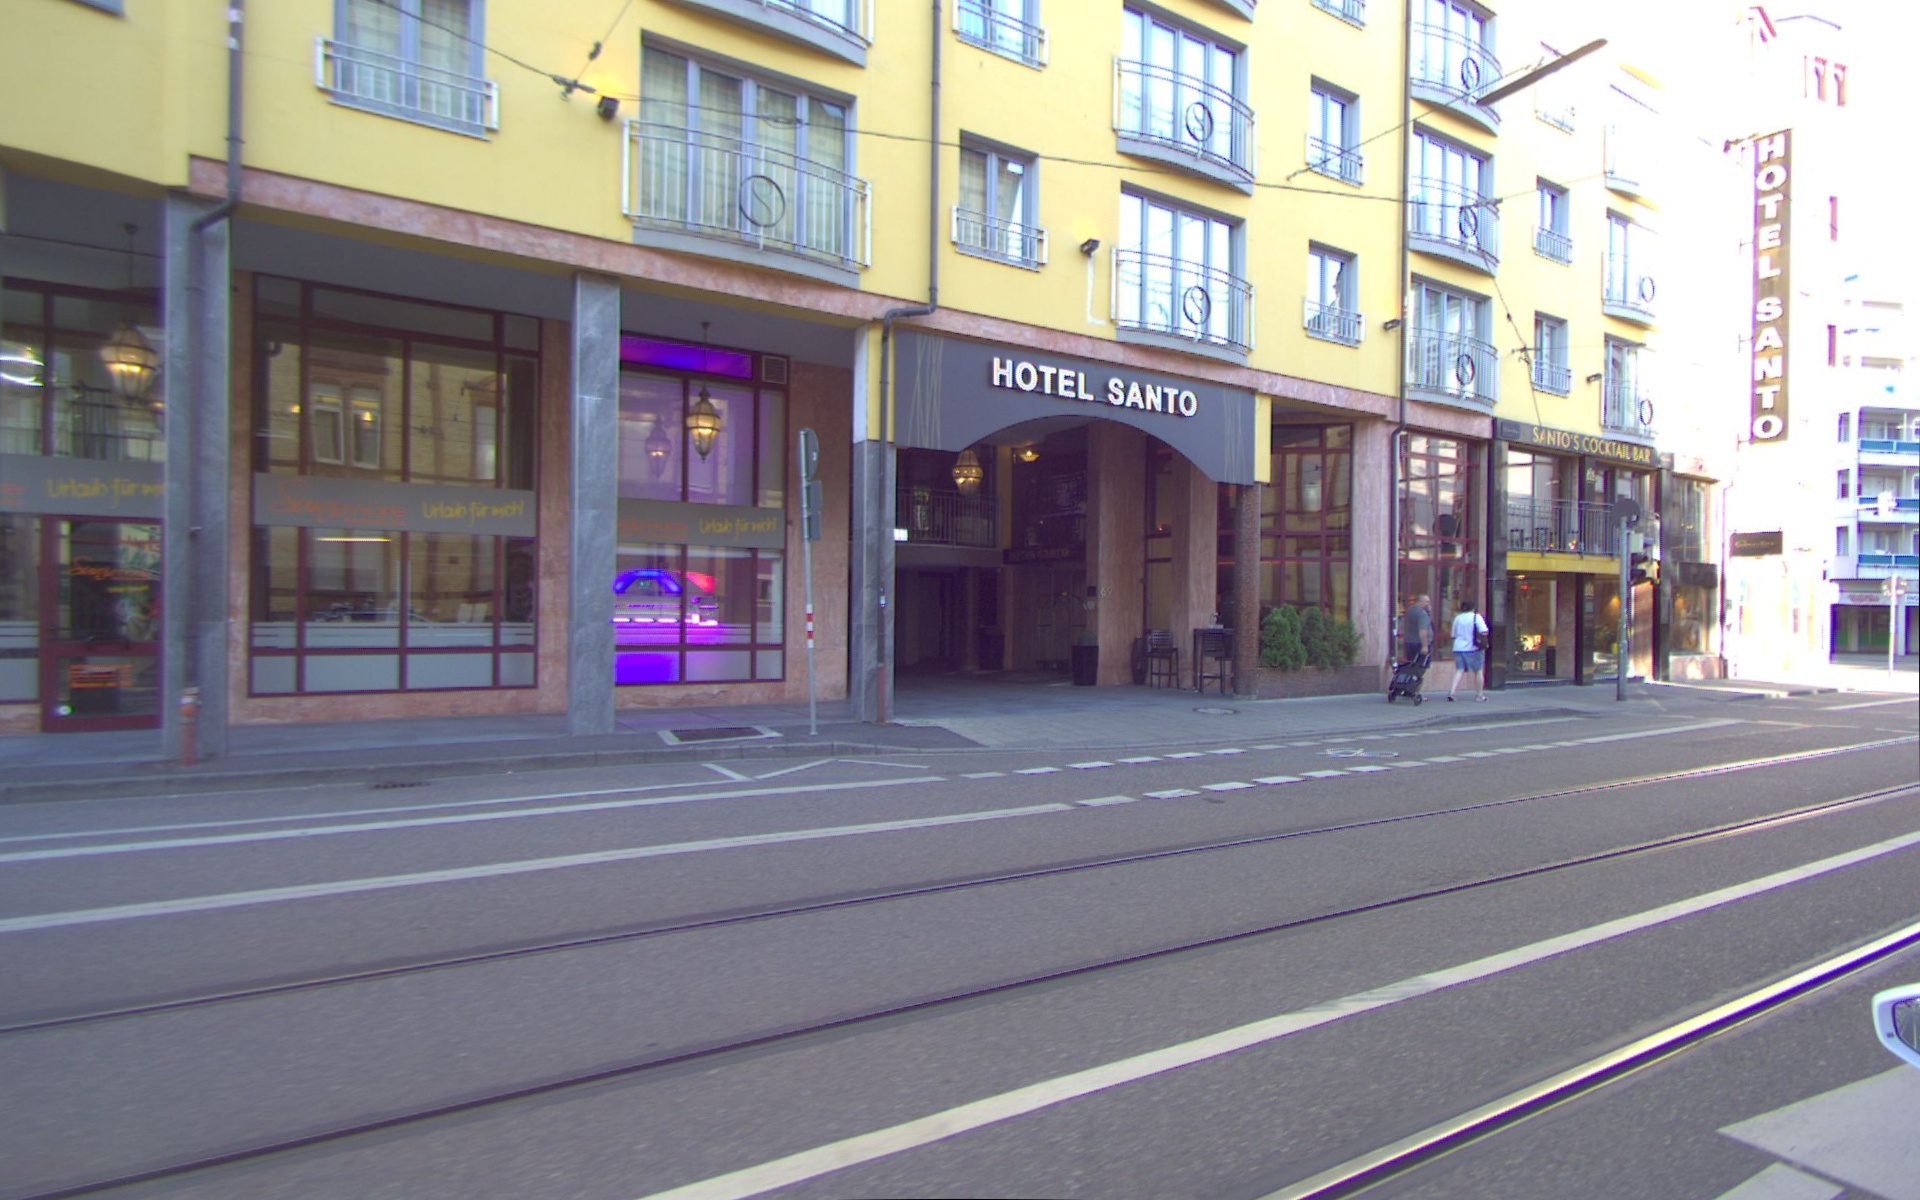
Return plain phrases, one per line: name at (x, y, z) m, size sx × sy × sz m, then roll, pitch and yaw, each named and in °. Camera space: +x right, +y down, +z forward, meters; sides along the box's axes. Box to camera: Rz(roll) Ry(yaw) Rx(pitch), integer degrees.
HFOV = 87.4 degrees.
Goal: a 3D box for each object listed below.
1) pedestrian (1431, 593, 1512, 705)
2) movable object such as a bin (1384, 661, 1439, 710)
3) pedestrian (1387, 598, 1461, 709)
pedestrian at (8.837, 0.825, 17.374) m, size 1.034 × 1.843 × 0.747 m, roll 0°, pitch 3°, yaw -32°
movable object such as a bin at (7.357, 1.386, 16.381) m, size 0.831 × 0.726 × 0.381 m, roll 0°, pitch 3°, yaw -31°
pedestrian at (7.892, 0.885, 17.090) m, size 0.741 × 1.795 × 0.793 m, roll 0°, pitch 3°, yaw -32°
